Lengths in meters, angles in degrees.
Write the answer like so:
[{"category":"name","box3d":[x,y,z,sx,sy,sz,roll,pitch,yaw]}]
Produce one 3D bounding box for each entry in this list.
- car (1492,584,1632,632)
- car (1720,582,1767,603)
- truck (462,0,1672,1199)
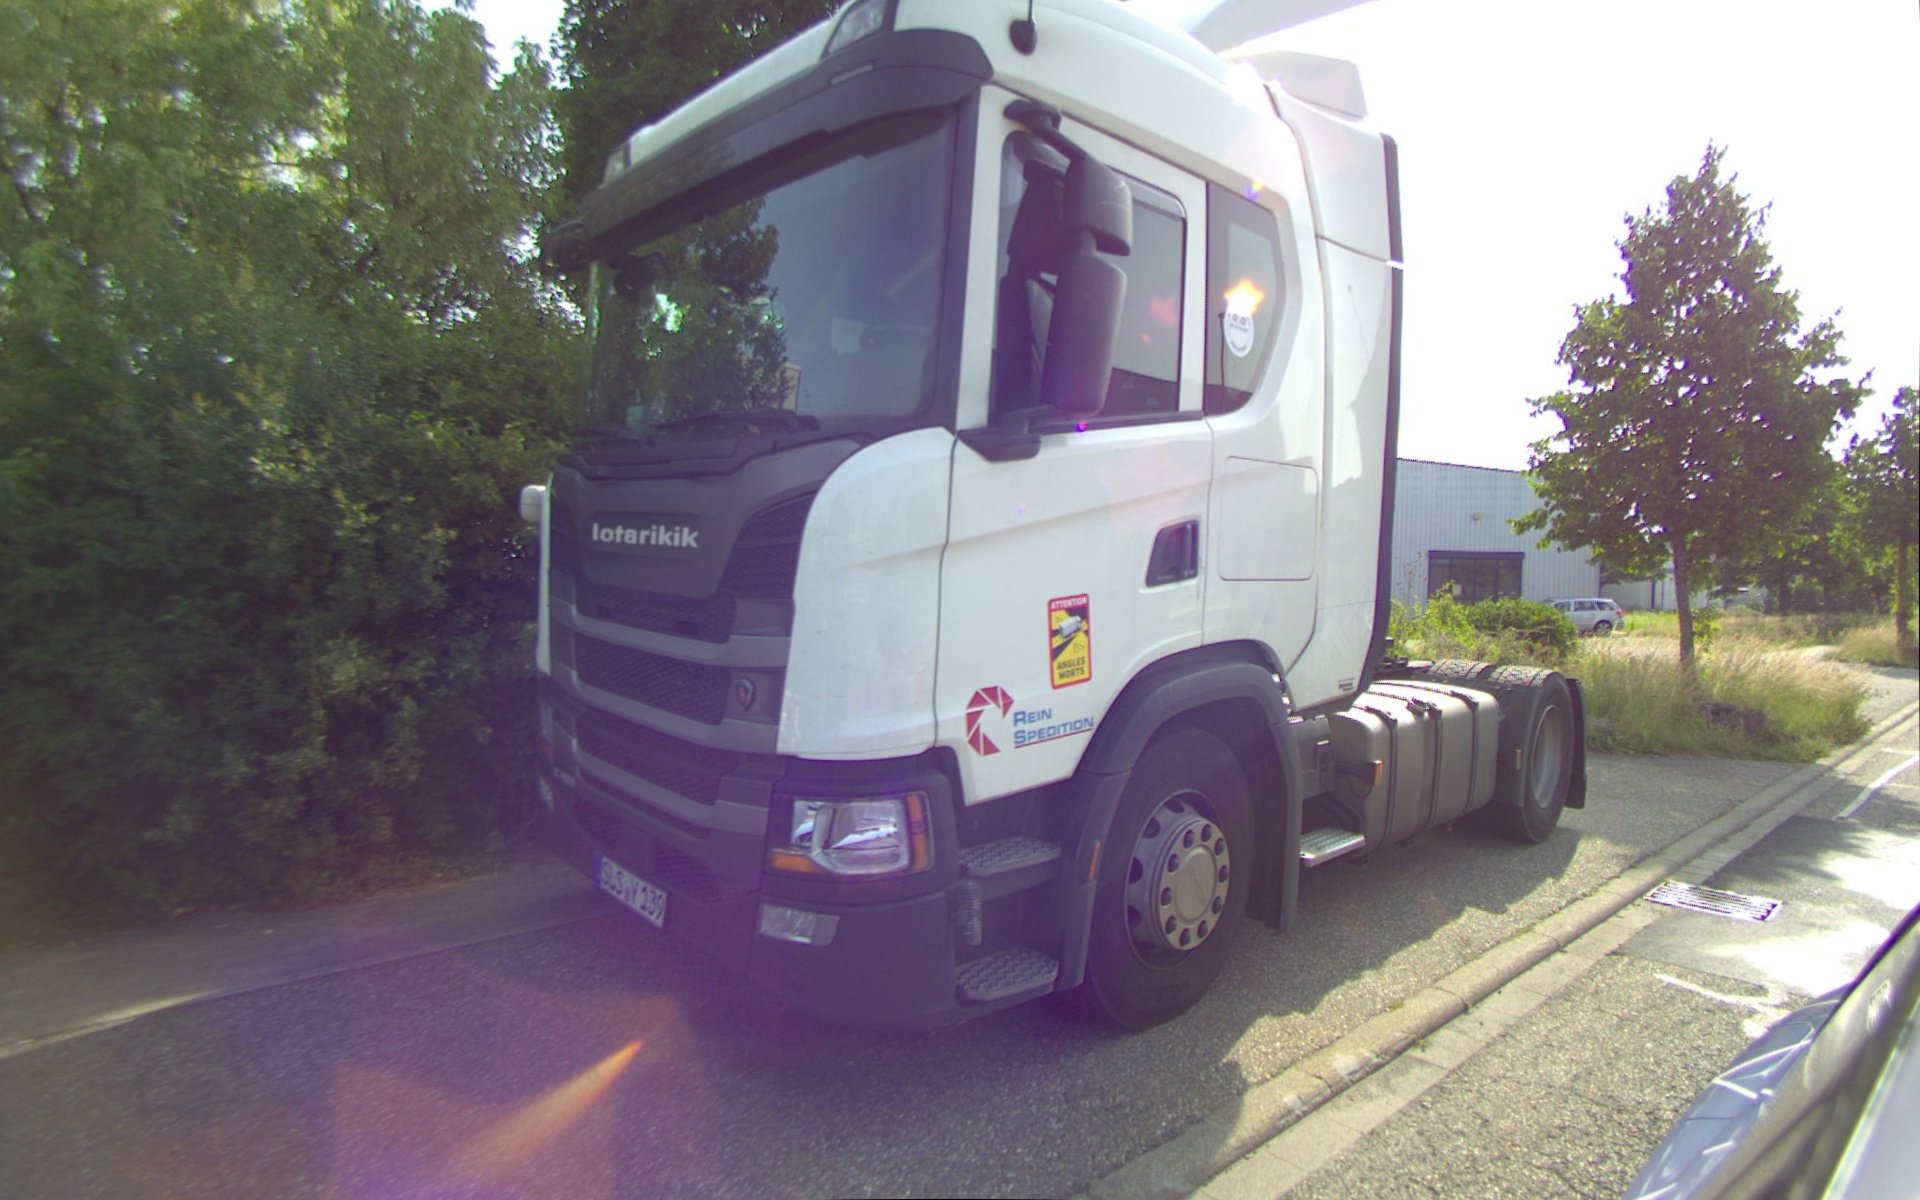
[{"category":"car","box3d":[23.630,0.278,39.886,4.285,1.581,1.757,2,4,7]},{"category":"car","box3d":[65.403,-0.619,84.481,3.680,1.703,1.603,-1,0,-26]},{"category":"truck","box3d":[1.122,-0.790,5.103,5.946,4.012,2.696,0,4,-43]}]
